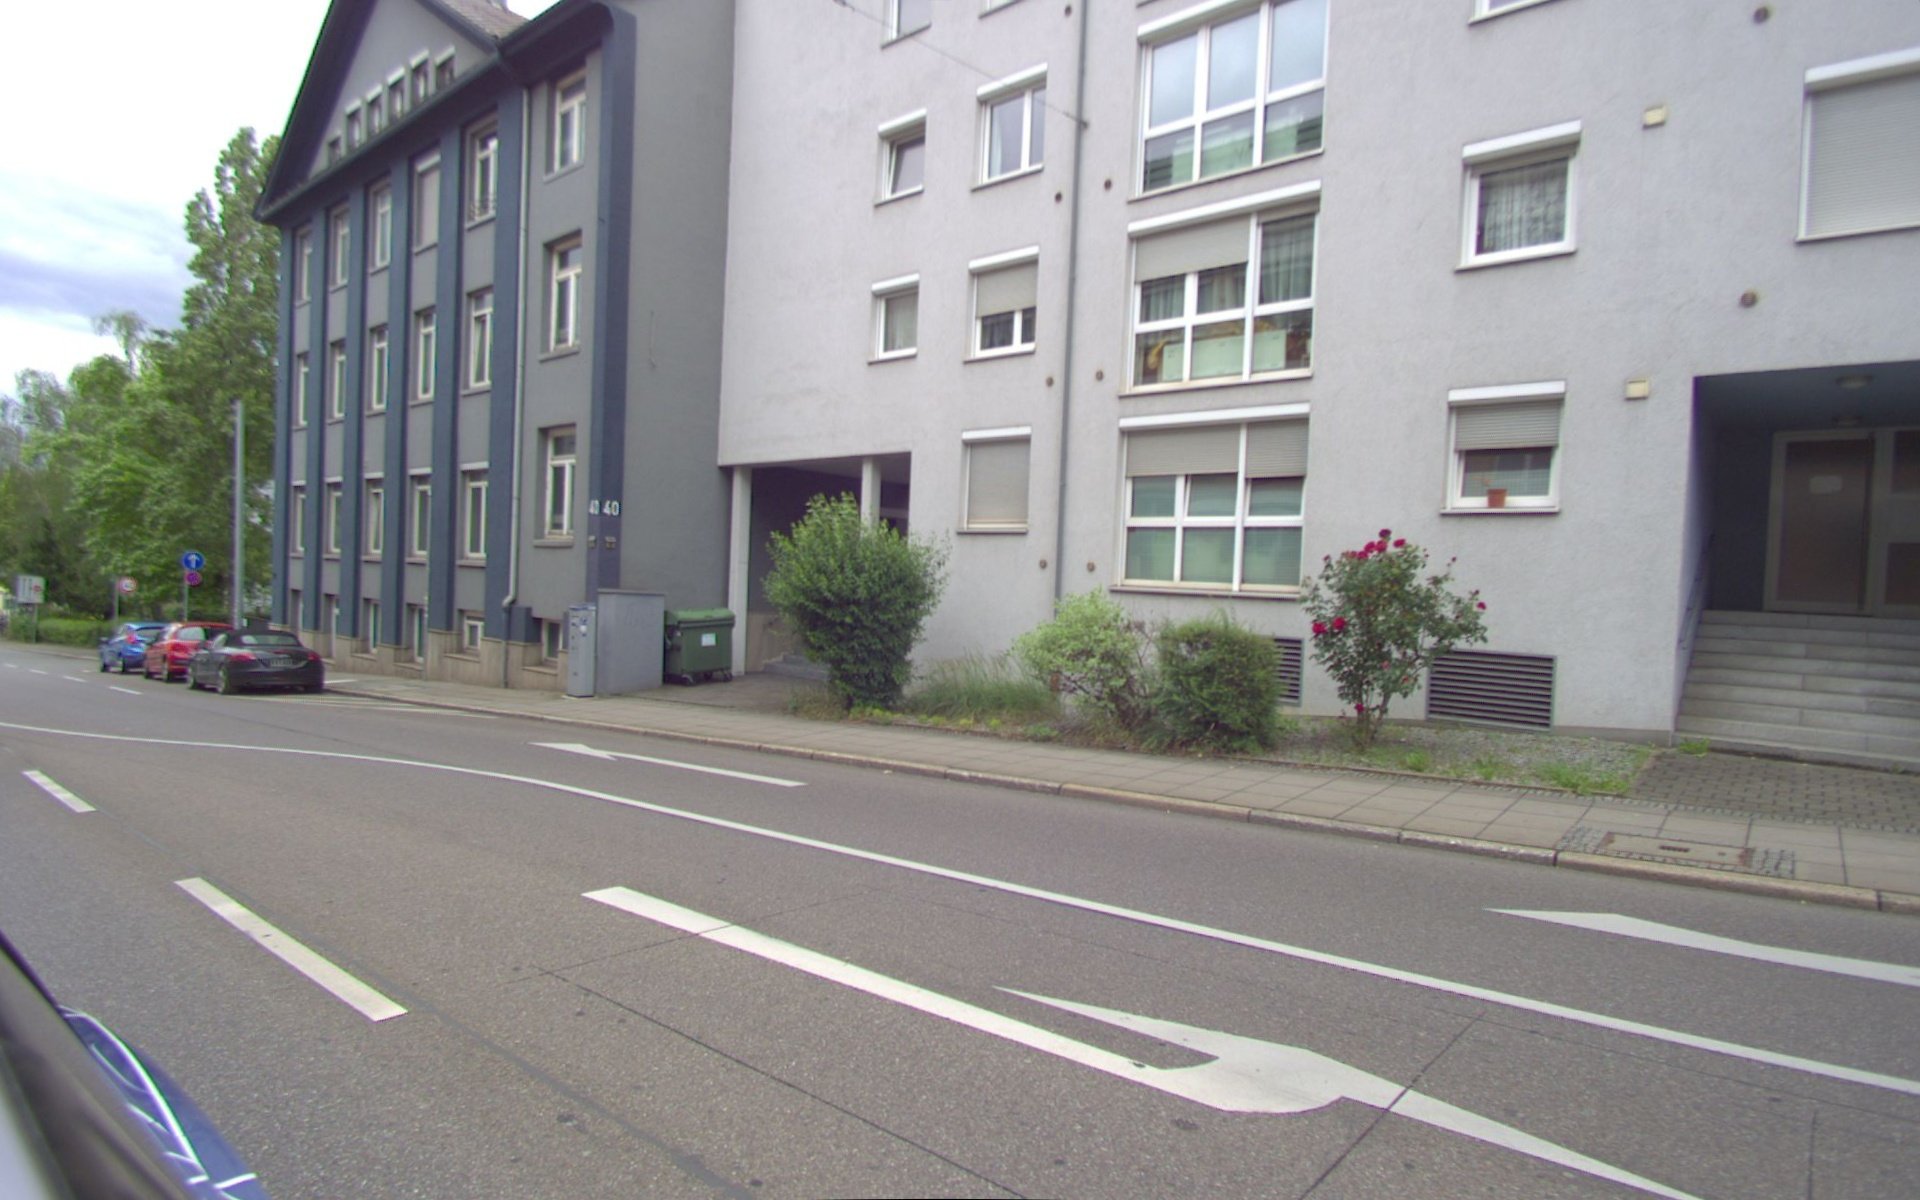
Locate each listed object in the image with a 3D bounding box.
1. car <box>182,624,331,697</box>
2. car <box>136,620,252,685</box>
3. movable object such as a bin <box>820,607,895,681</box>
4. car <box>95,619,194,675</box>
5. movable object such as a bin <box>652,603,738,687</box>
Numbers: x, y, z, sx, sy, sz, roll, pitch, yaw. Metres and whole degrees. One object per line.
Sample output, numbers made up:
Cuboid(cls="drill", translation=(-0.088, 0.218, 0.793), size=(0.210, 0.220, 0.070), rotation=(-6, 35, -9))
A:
Cuboid(cls="car", translation=(-15.209, 1.239, 21.830), size=(3.727, 1.403, 1.778), rotation=(-1, -1, 41))
Cuboid(cls="car", translation=(-19.507, 1.268, 25.716), size=(3.727, 1.460, 1.623), rotation=(-1, 0, 41))
Cuboid(cls="movable object such as a bin", translation=(-2.063, 0.863, 20.412), size=(1.078, 1.427, 1.026), rotation=(-1, 0, 41))
Cuboid(cls="car", translation=(-23.775, 1.308, 29.459), size=(3.727, 1.460, 1.623), rotation=(-1, 0, 41))
Cuboid(cls="movable object such as a bin", translation=(-5.090, 0.836, 19.439), size=(1.039, 1.518, 1.213), rotation=(-1, 0, 41))
